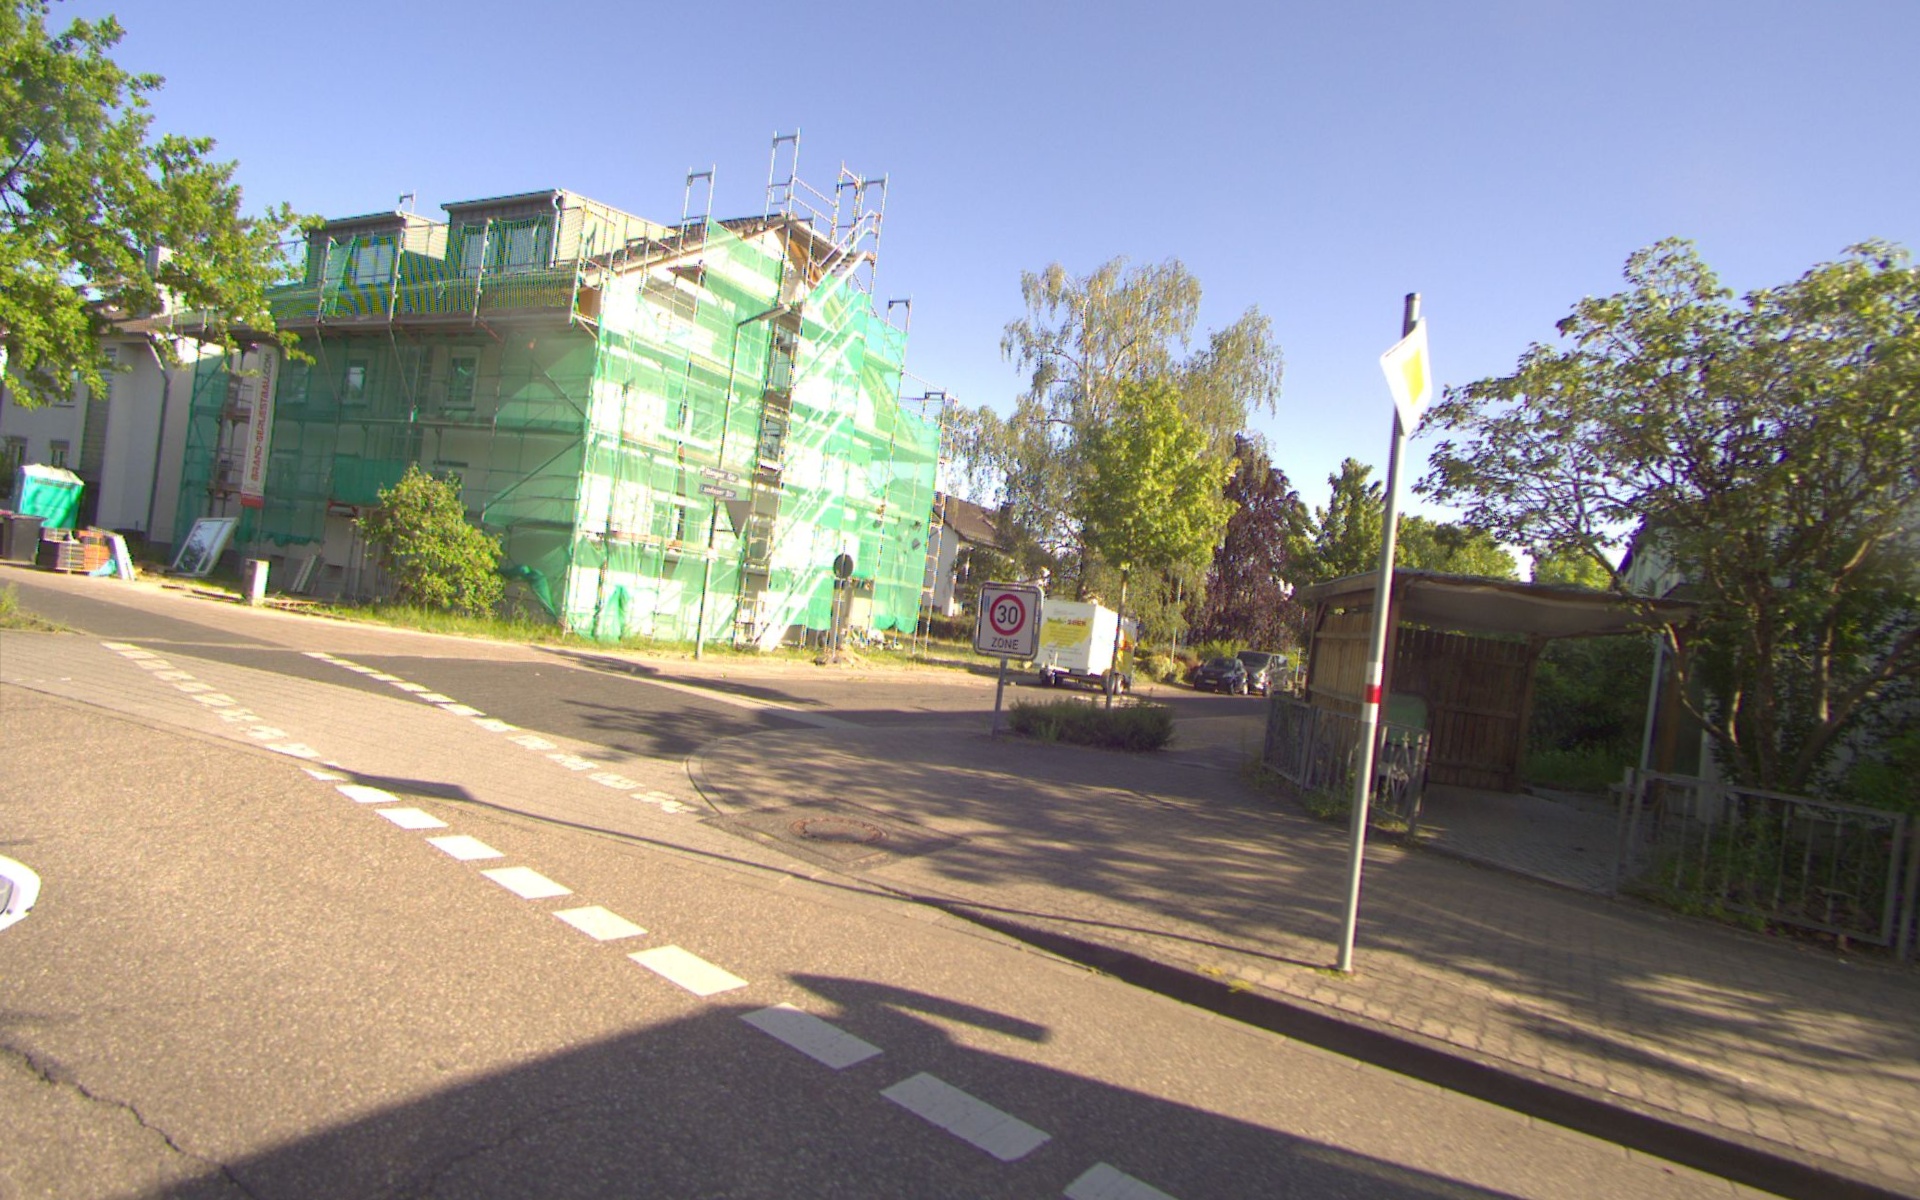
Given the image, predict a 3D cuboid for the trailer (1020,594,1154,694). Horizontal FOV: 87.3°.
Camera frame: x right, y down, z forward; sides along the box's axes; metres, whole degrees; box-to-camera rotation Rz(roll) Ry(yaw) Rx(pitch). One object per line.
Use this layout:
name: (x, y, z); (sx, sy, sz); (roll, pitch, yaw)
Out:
trailer: (3.927, 1.393, 30.218); (2.050, 2.563, 4.964); (6, -1, 30)

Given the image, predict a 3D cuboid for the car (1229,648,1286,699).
car: (13.598, 3.371, 45.832); (1.581, 1.925, 3.152); (8, -2, 30)

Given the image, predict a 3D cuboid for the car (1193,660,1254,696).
car: (11.348, 3.375, 43.214); (1.581, 1.208, 3.242); (8, -2, 30)

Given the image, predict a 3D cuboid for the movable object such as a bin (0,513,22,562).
movable object such as a bin: (-22.242, -1.469, 23.223); (0.635, 1.082, 0.605); (6, 0, 30)

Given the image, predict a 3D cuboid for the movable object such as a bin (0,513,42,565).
movable object such as a bin: (-21.393, -1.389, 22.805); (0.635, 1.082, 0.605); (6, 0, 30)

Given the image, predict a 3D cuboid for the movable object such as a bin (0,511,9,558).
movable object such as a bin: (-22.900, -1.586, 23.636); (0.557, 1.082, 0.605); (6, 0, 30)

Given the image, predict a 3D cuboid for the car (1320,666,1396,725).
car: (14.635, 3.533, 36.858); (1.857, 1.797, 3.920); (8, -2, 30)
